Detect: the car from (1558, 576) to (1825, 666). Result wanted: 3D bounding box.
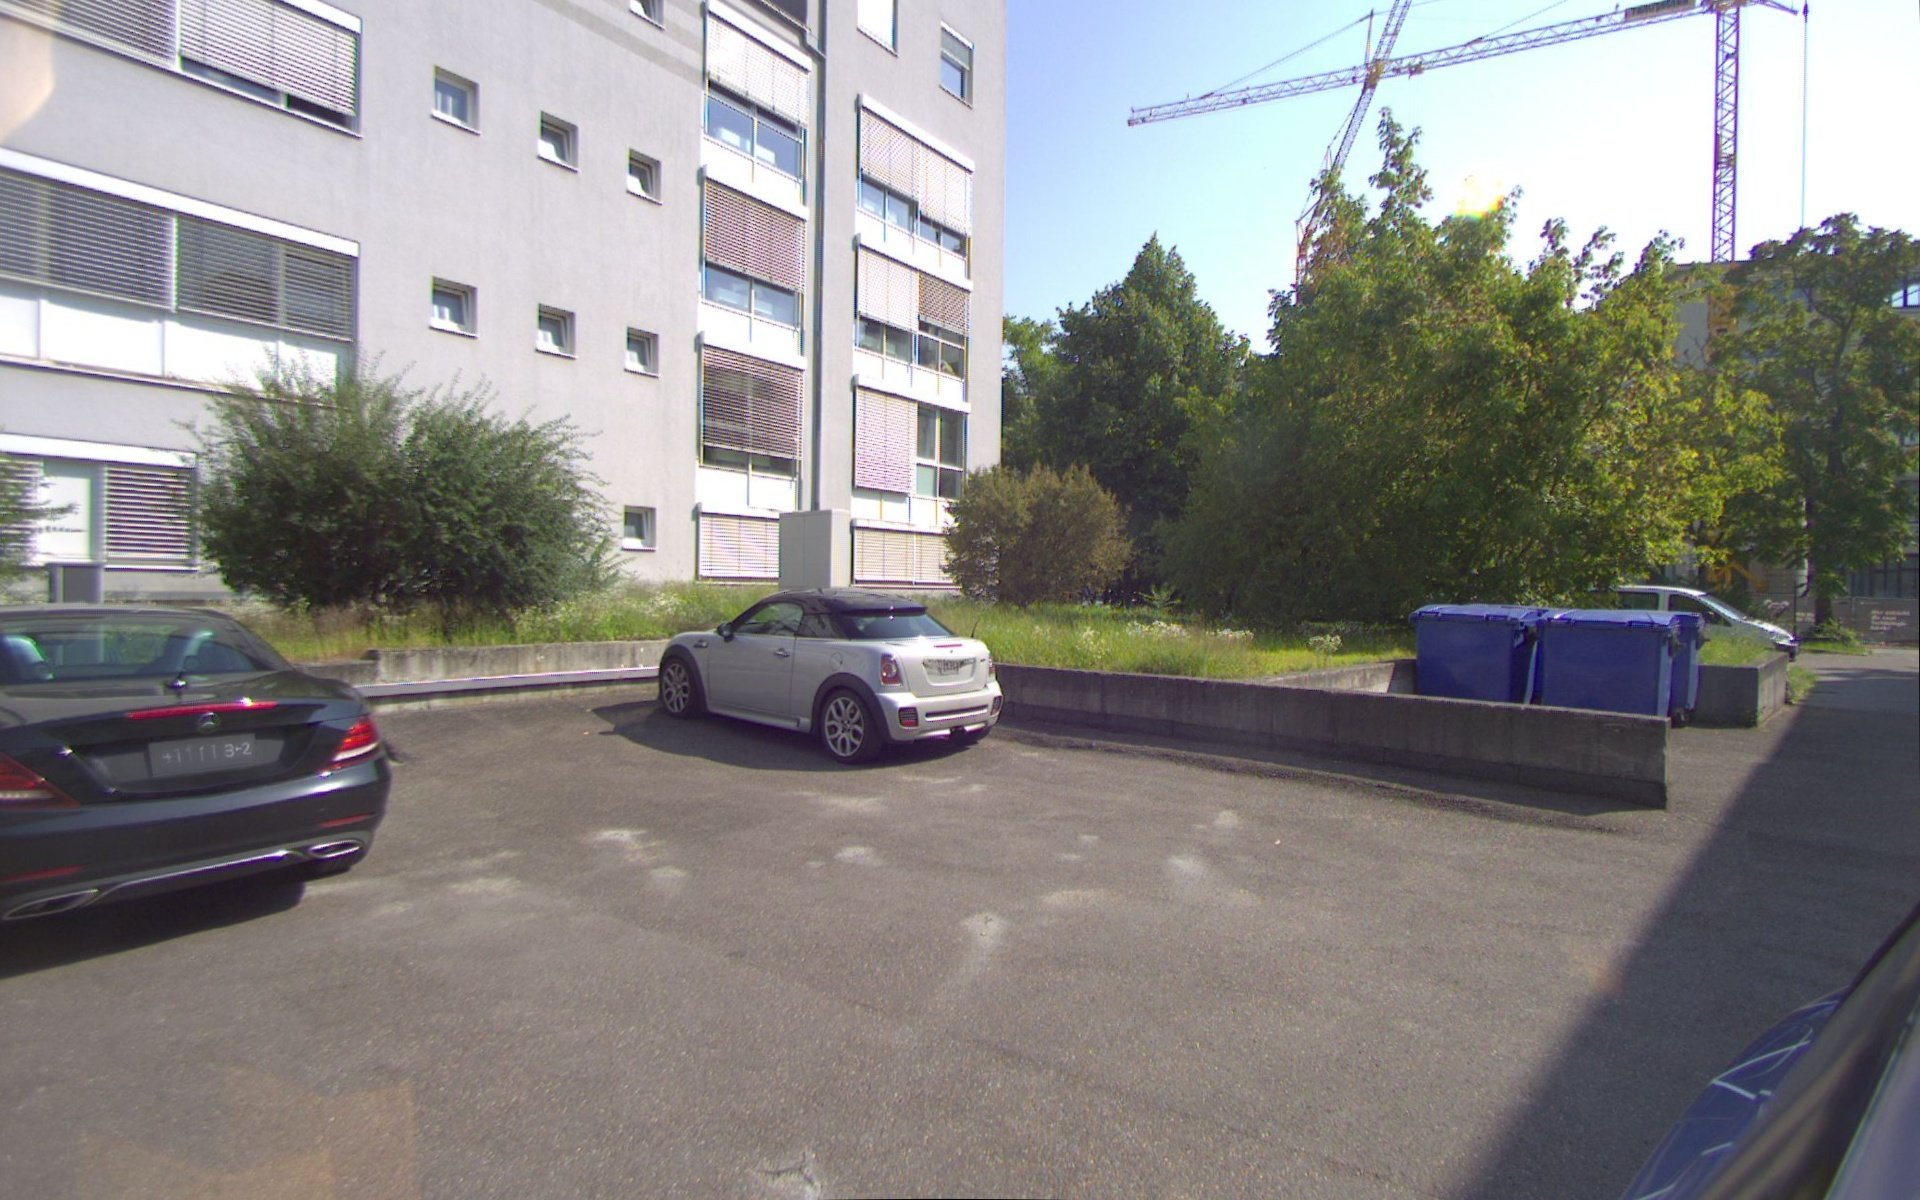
[{"bbox_3d":[17.448,0.416,24.316,2.011,1.945,4.960,-1,1,-45],"label":"car"}]

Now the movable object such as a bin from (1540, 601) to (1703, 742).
[{"bbox_3d":[7.093,0.707,10.848,1.299,1.357,1.176,1,1,42],"label":"movable object such as a bin"}]

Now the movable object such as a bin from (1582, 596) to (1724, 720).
[{"bbox_3d":[8.282,0.642,12.099,1.307,1.357,1.084,1,1,40],"label":"movable object such as a bin"}]

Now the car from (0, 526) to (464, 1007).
[{"bbox_3d":[-4.400,0.525,5.014,3.785,1.609,1.875,1,1,34],"label":"car"}]

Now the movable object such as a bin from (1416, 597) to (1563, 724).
[{"bbox_3d":[6.163,0.651,11.796,1.098,1.357,1.236,0,1,-44],"label":"movable object such as a bin"}]

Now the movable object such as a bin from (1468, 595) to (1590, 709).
[{"bbox_3d":[7.325,0.624,13.025,1.224,1.357,1.062,1,1,39],"label":"movable object such as a bin"}]

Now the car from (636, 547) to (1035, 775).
[{"bbox_3d":[-1.299,0.397,9.620,3.618,1.563,1.776,7,5,41],"label":"car"}]
